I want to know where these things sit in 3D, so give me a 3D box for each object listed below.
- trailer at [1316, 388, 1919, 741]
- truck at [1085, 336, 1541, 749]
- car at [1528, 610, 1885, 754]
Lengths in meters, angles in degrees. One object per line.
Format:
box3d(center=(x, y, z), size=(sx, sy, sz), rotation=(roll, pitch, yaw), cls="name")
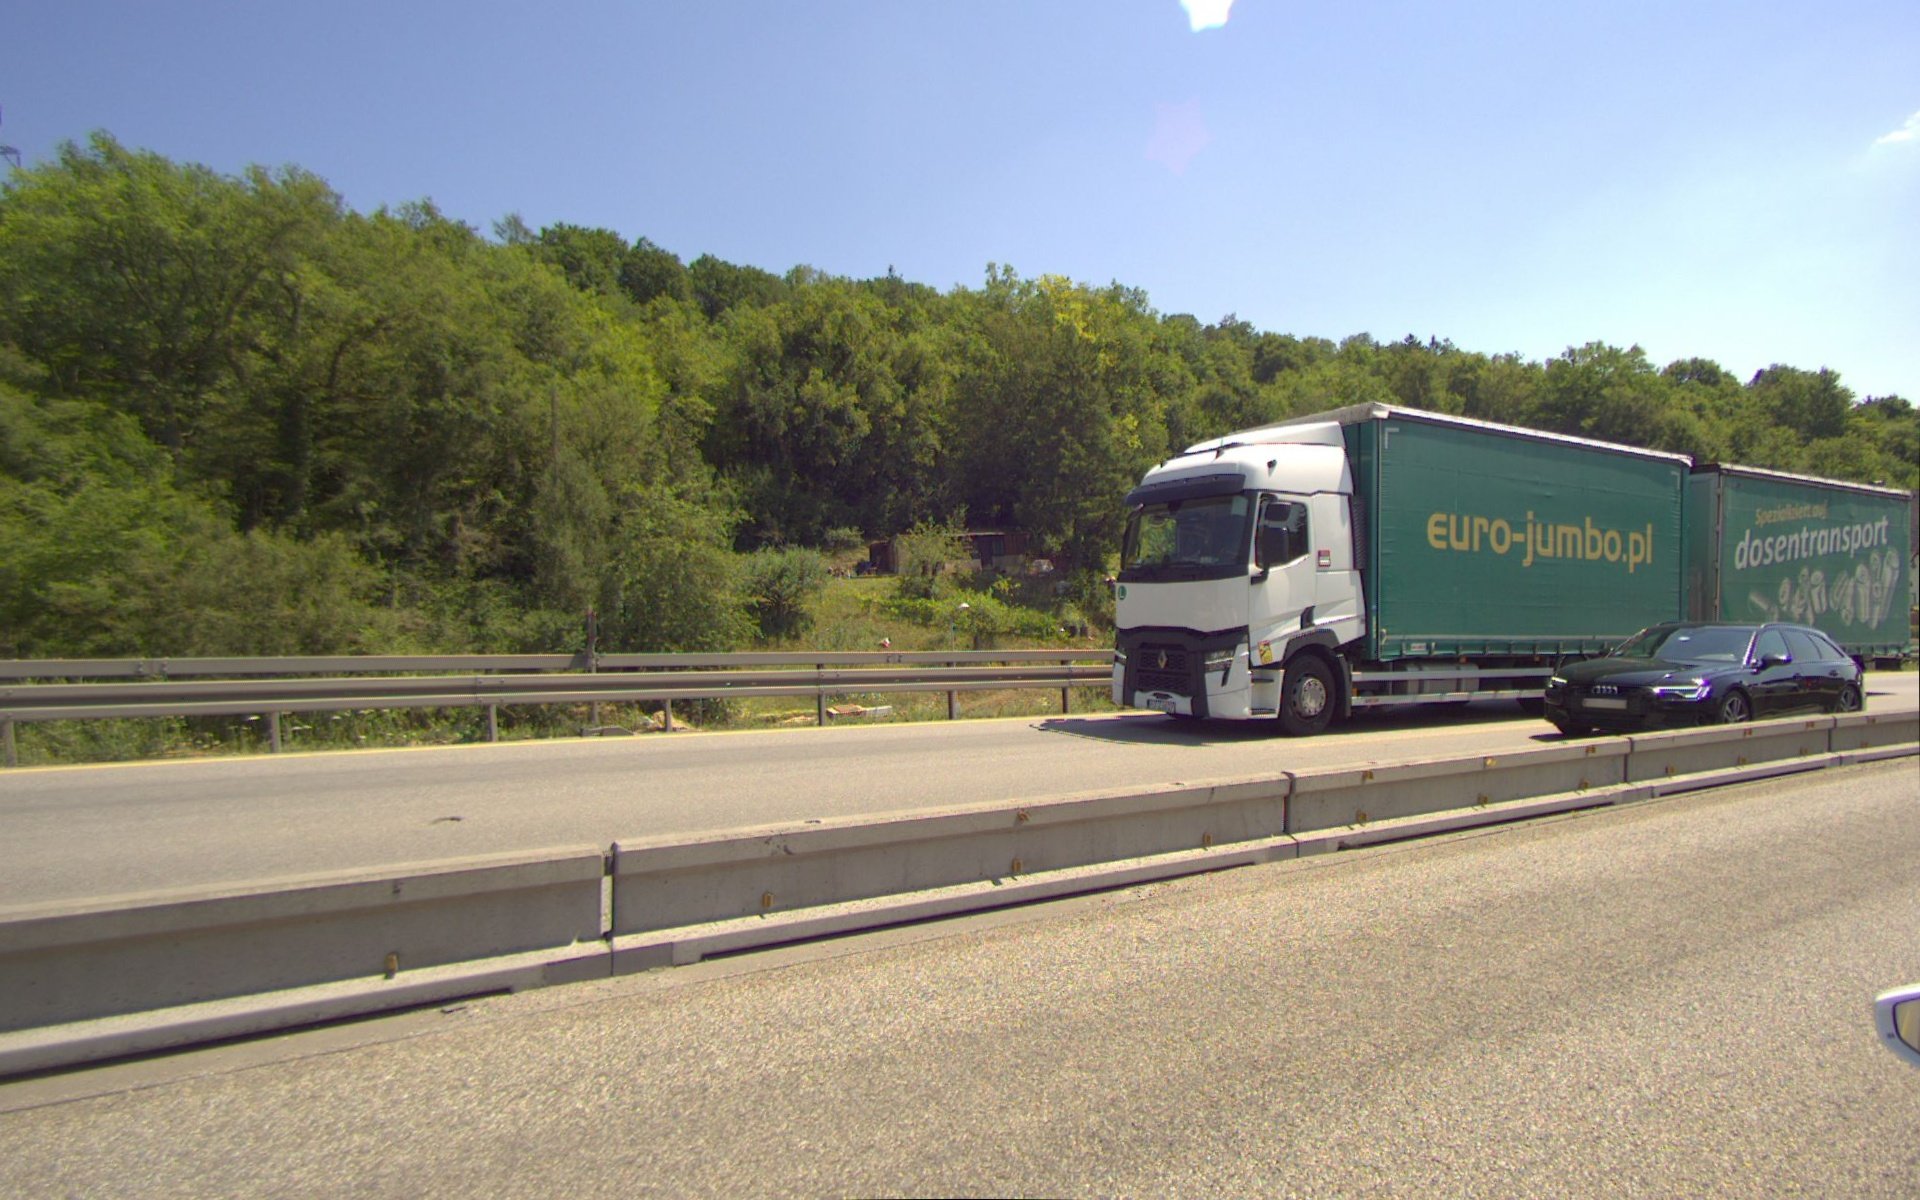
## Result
box3d(center=(12.618, -0.245, 18.139), size=(14.404, 4.703, 2.821), rotation=(2, -1, -29), cls="trailer")
box3d(center=(4.935, -0.560, 13.922), size=(5.717, 4.640, 2.834), rotation=(2, -1, -29), cls="truck")
box3d(center=(9.349, 0.938, 12.481), size=(4.702, 1.482, 1.892), rotation=(2, -1, -31), cls="car")
